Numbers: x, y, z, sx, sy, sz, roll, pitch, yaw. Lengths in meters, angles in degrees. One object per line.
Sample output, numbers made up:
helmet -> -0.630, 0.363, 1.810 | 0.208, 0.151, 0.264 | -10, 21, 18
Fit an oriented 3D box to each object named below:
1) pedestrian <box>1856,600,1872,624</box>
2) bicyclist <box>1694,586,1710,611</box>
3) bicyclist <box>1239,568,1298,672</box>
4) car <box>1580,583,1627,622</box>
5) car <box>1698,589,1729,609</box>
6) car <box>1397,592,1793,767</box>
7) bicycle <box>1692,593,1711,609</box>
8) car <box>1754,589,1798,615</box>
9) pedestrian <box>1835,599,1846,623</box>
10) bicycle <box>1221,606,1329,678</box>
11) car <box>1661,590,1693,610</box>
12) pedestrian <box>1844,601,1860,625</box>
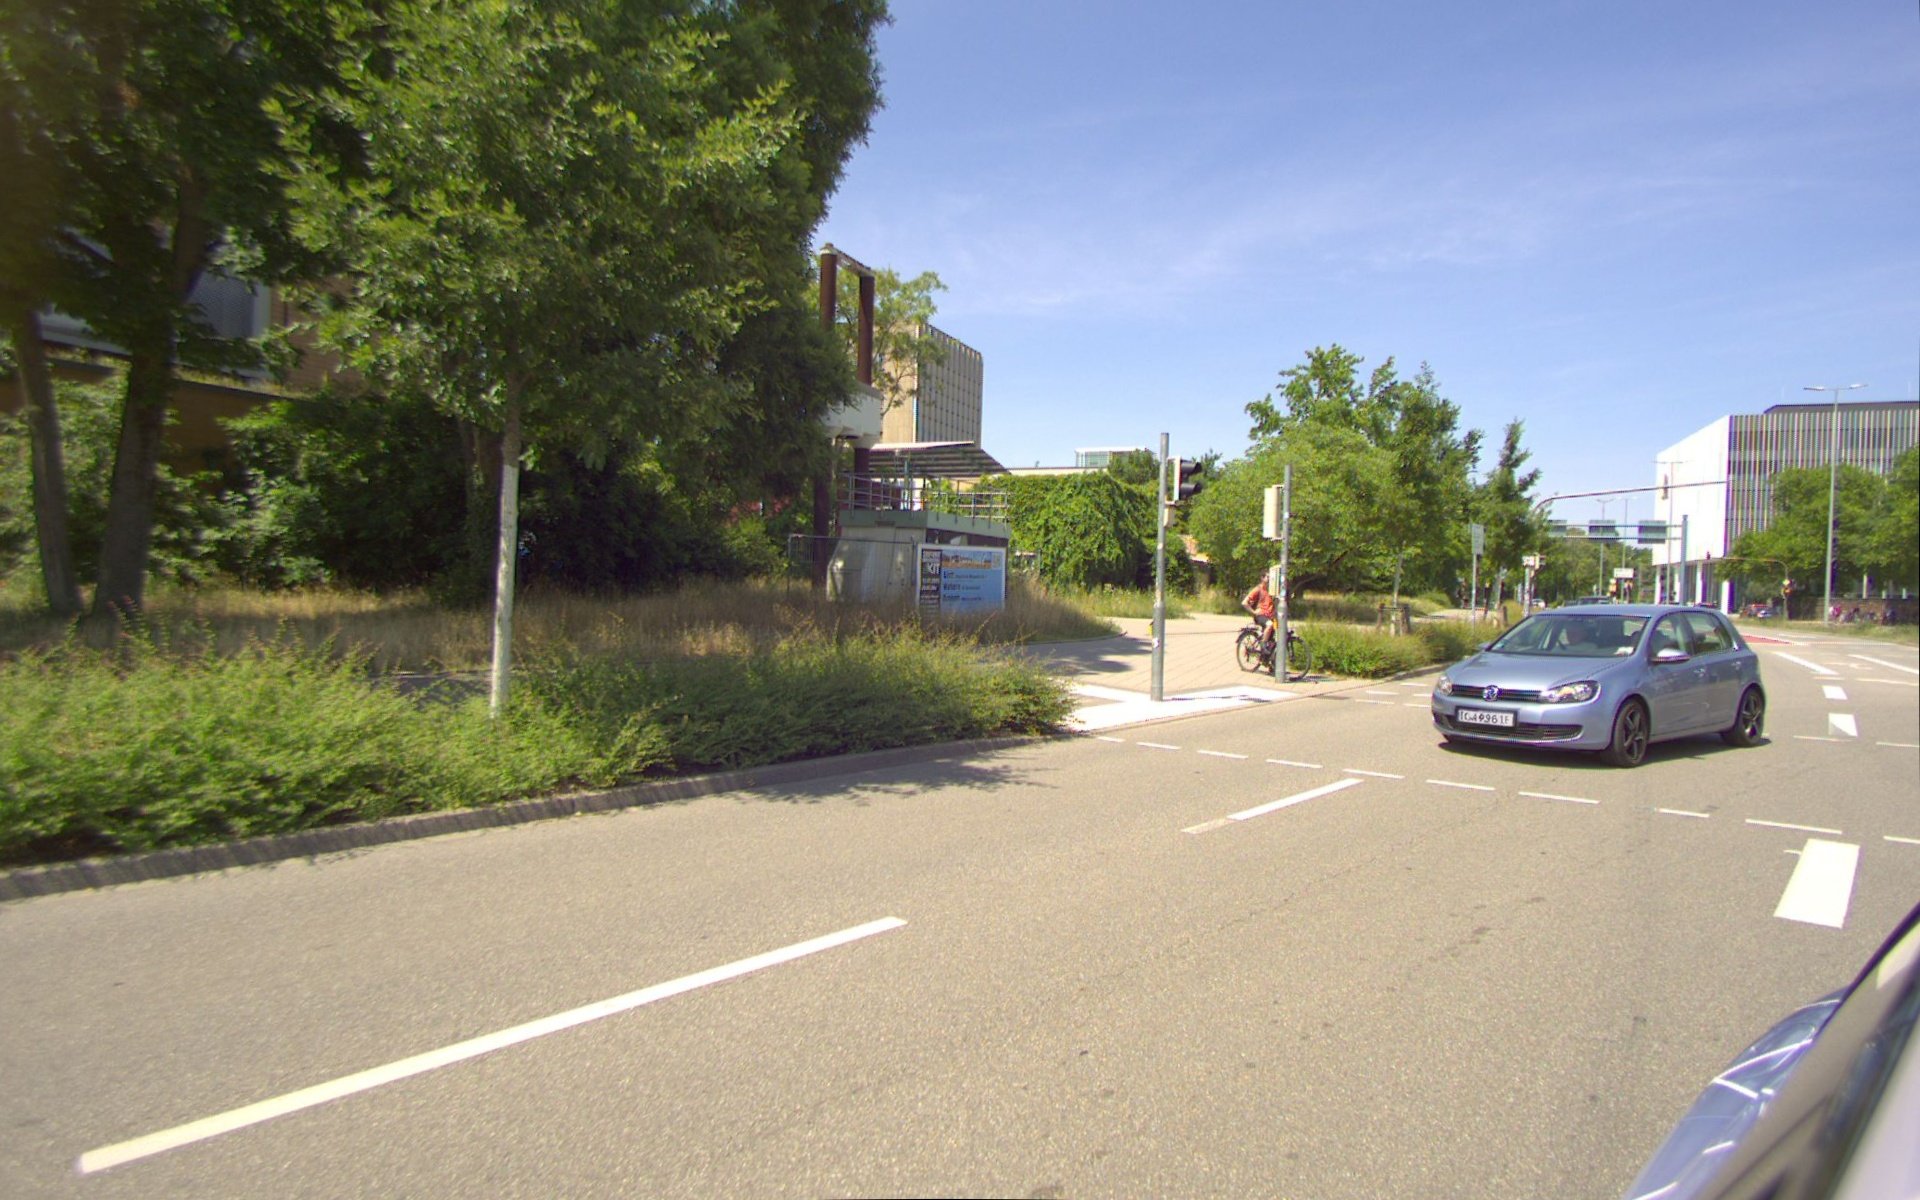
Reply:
pedestrian -> 77.914, 1.017, 87.216 | 0.781, 2.039, 0.832 | 2, -1, 26
bicyclist -> 60.447, -0.123, 82.435 | 0.699, 1.911, 1.132 | 2, -1, 17
bicyclist -> 5.292, 0.336, 17.389 | 0.540, 1.737, 0.704 | 3, 0, -23
car -> 29.870, 0.154, 47.096 | 1.696, 1.606, 4.504 | 2, -1, 31
car -> 70.997, -0.102, 95.387 | 1.766, 1.705, 3.958 | 2, -1, 29
car -> 6.482, 0.659, 10.260 | 3.915, 1.432, 1.835 | 0, 1, -31
bicycle -> 60.408, 0.114, 82.455 | 0.514, 1.253, 2.179 | 2, -1, 17
car -> 69.896, 0.229, 86.748 | 1.981, 2.039, 4.174 | 2, -1, 27
pedestrian -> 76.470, 0.954, 87.875 | 0.544, 2.039, 0.531 | 2, -1, 27
bicycle -> 5.338, 0.685, 17.290 | 0.547, 1.058, 2.002 | 3, 1, -23
car -> 68.523, 0.002, 96.760 | 1.760, 1.689, 3.965 | 2, -1, 24
pedestrian -> 77.146, 1.103, 87.551 | 0.781, 2.039, 0.955 | 2, -1, 26
